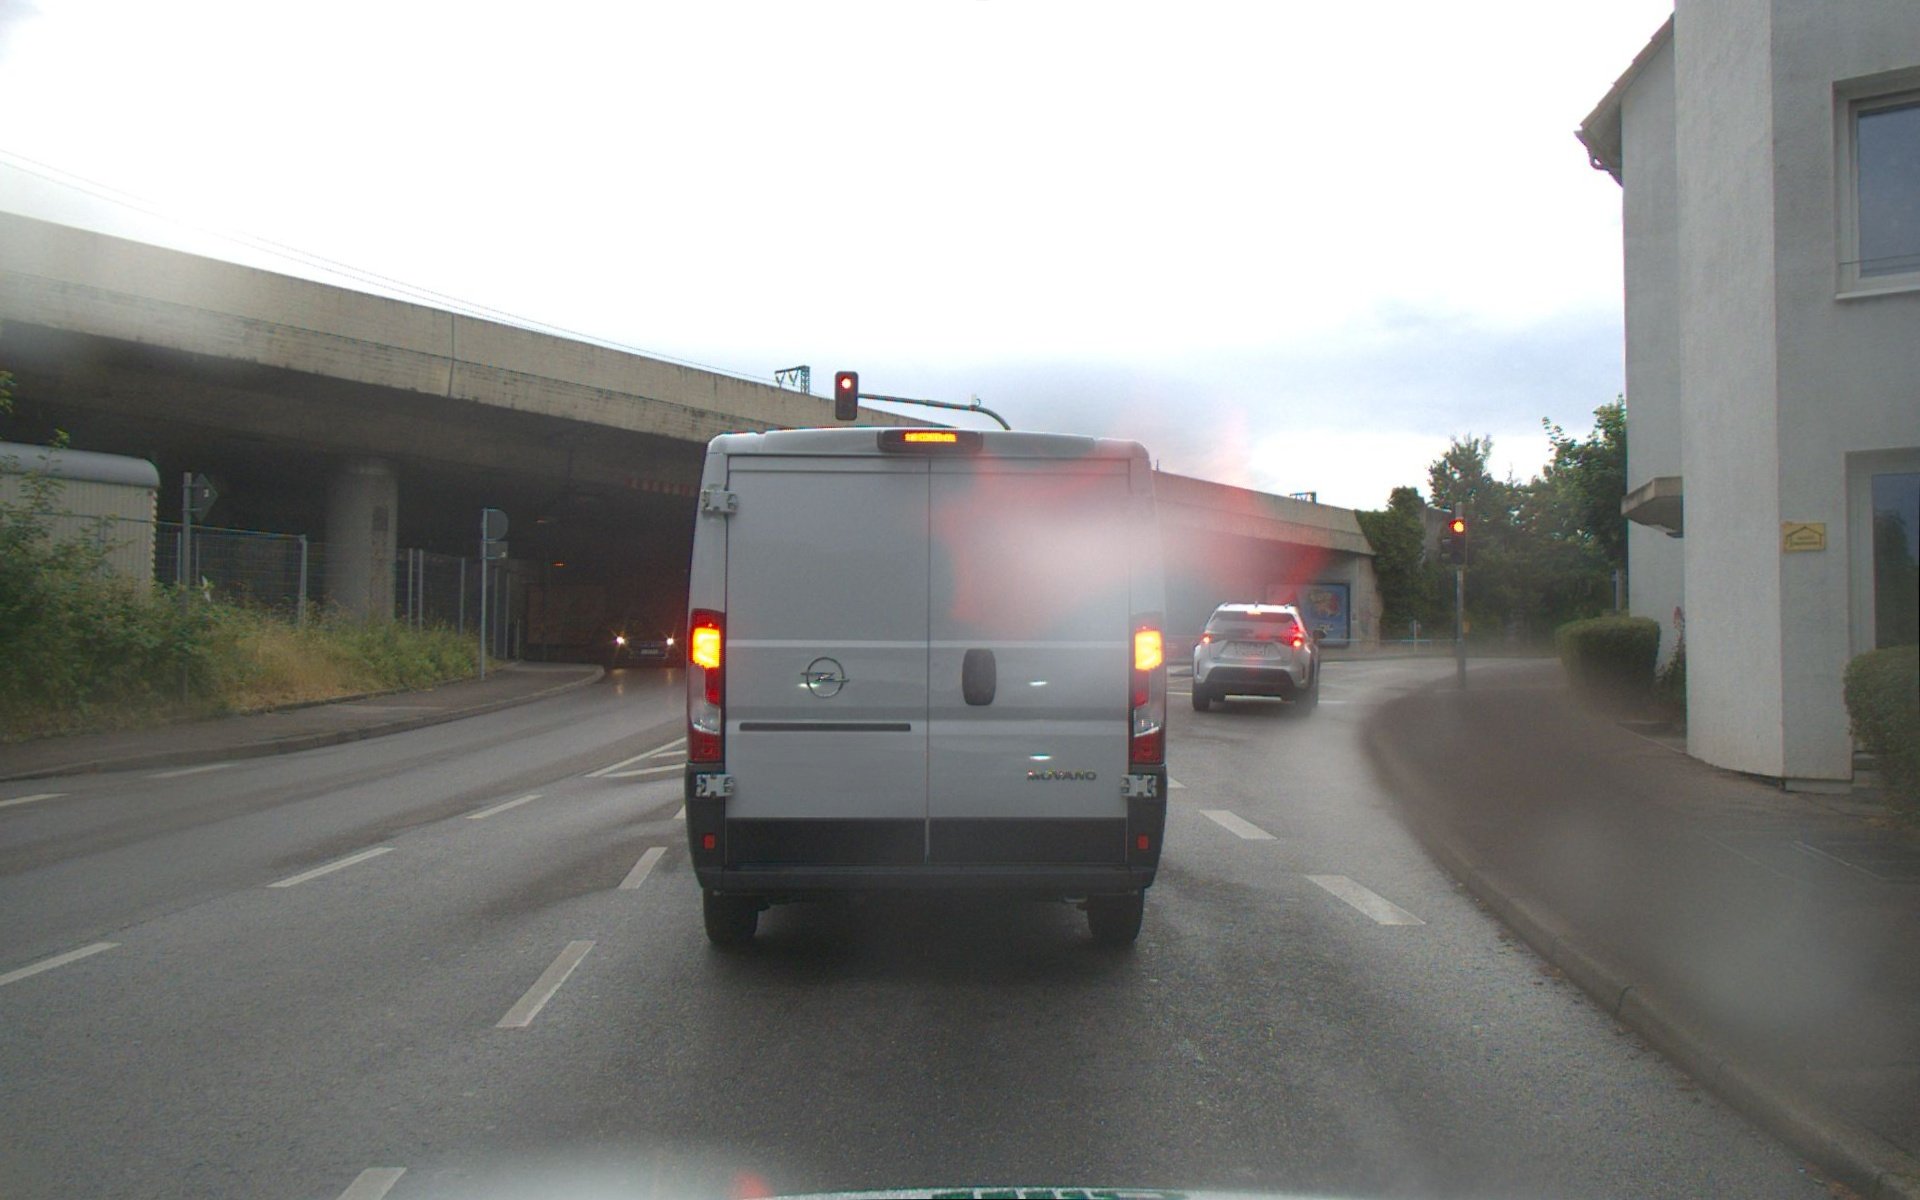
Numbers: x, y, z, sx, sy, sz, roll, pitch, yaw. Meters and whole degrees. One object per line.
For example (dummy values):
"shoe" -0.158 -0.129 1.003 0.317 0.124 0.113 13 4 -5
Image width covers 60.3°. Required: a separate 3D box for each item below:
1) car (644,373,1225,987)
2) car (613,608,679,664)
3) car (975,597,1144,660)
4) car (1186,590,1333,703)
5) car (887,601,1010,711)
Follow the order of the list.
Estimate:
"car" -0.059 0.358 9.176 2.257 2.384 5.282 1 -1 1
"car" -9.540 1.064 50.405 1.880 1.655 4.423 0 0 -10
"car" 2.565 0.732 42.364 3.904 1.545 2.000 0 -2 20
"car" 4.663 0.703 25.341 1.951 1.576 4.002 0 -2 14
"car" -0.123 0.950 28.705 1.952 1.759 4.000 0 -2 2
